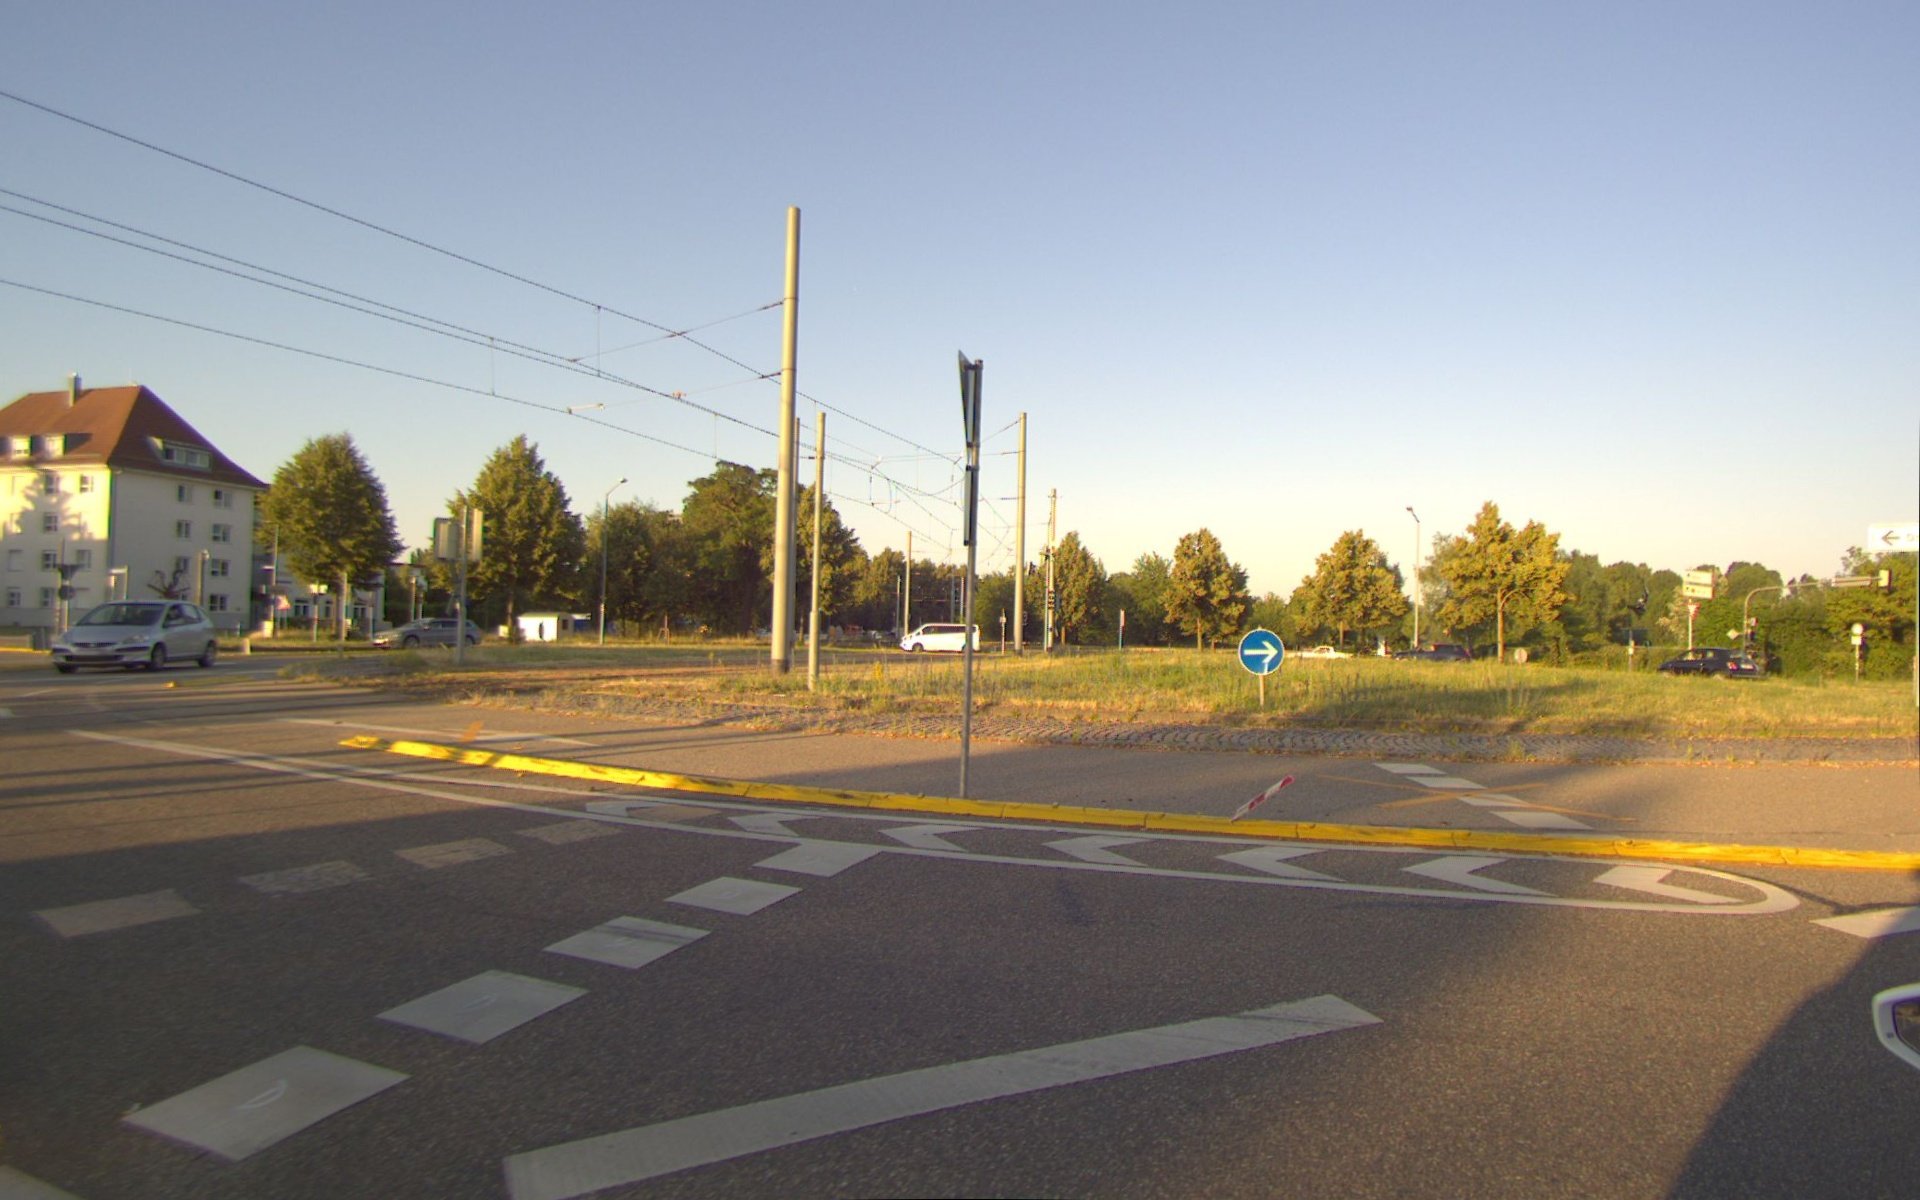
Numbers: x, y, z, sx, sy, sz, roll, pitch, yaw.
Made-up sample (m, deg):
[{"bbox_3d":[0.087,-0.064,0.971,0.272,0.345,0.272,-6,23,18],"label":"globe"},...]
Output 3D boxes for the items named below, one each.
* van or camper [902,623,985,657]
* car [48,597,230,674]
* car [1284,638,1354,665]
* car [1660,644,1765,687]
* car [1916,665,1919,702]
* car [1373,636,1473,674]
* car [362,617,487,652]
[{"bbox_3d":[-1.081,2.609,65.475,5.205,2.036,1.912,2,-1,-9],"label":"van or camper"},{"bbox_3d":[-17.347,0.732,21.446,1.580,1.485,3.699,2,-1,-15],"label":"car"},{"bbox_3d":[20.485,2.913,57.366,3.707,1.272,1.579,2,-1,21],"label":"car"},{"bbox_3d":[29.216,2.517,39.164,1.716,1.465,4.138,1,-1,12],"label":"car"},{"bbox_3d":[48.237,4.055,47.583,4.511,1.771,1.750,2,-1,-6],"label":"car"},{"bbox_3d":[23.672,2.807,51.545,4.507,1.771,1.751,1,-1,20],"label":"car"},{"bbox_3d":[-23.816,1.521,44.853,1.896,1.434,4.646,1,-1,27],"label":"car"}]
